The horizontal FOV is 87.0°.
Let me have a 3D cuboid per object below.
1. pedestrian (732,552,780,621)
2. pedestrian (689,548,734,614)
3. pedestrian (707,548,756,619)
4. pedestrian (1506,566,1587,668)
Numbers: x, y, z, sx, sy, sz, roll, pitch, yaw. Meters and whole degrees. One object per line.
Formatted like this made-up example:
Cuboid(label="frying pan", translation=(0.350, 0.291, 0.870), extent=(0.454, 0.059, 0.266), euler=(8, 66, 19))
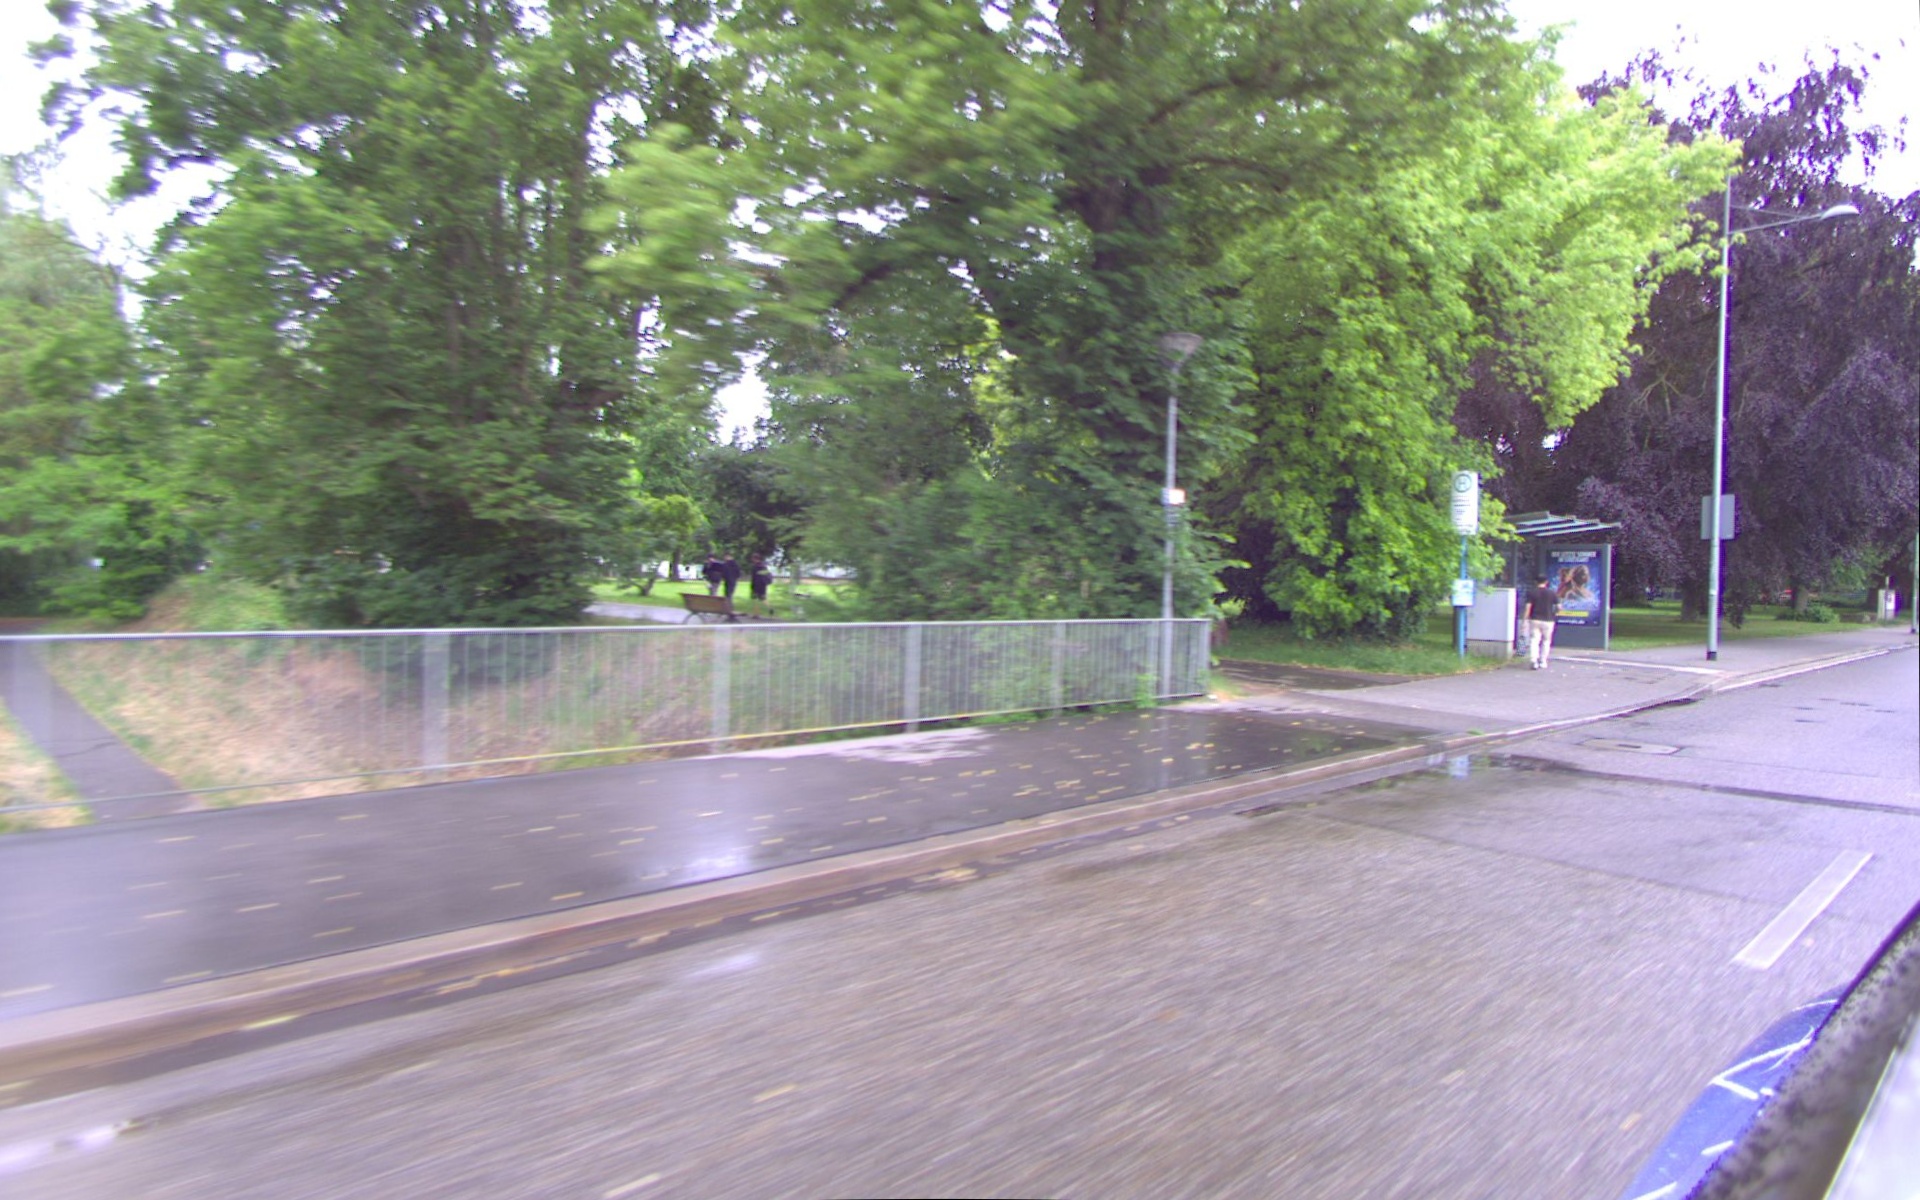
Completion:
Cuboid(label="pedestrian", translation=(-5.402, -0.372, 26.777), extent=(1.057, 1.774, 0.770), euler=(2, 2, 45))
Cuboid(label="pedestrian", translation=(-6.782, -0.535, 27.614), extent=(1.057, 1.774, 0.770), euler=(2, 2, 45))
Cuboid(label="pedestrian", translation=(-5.818, -0.428, 25.797), extent=(1.057, 1.774, 0.770), euler=(2, 2, 45))
Cuboid(label="pedestrian", translation=(10.414, 0.273, 17.973), extent=(1.147, 1.696, 0.849), euler=(-1, 4, -41))
